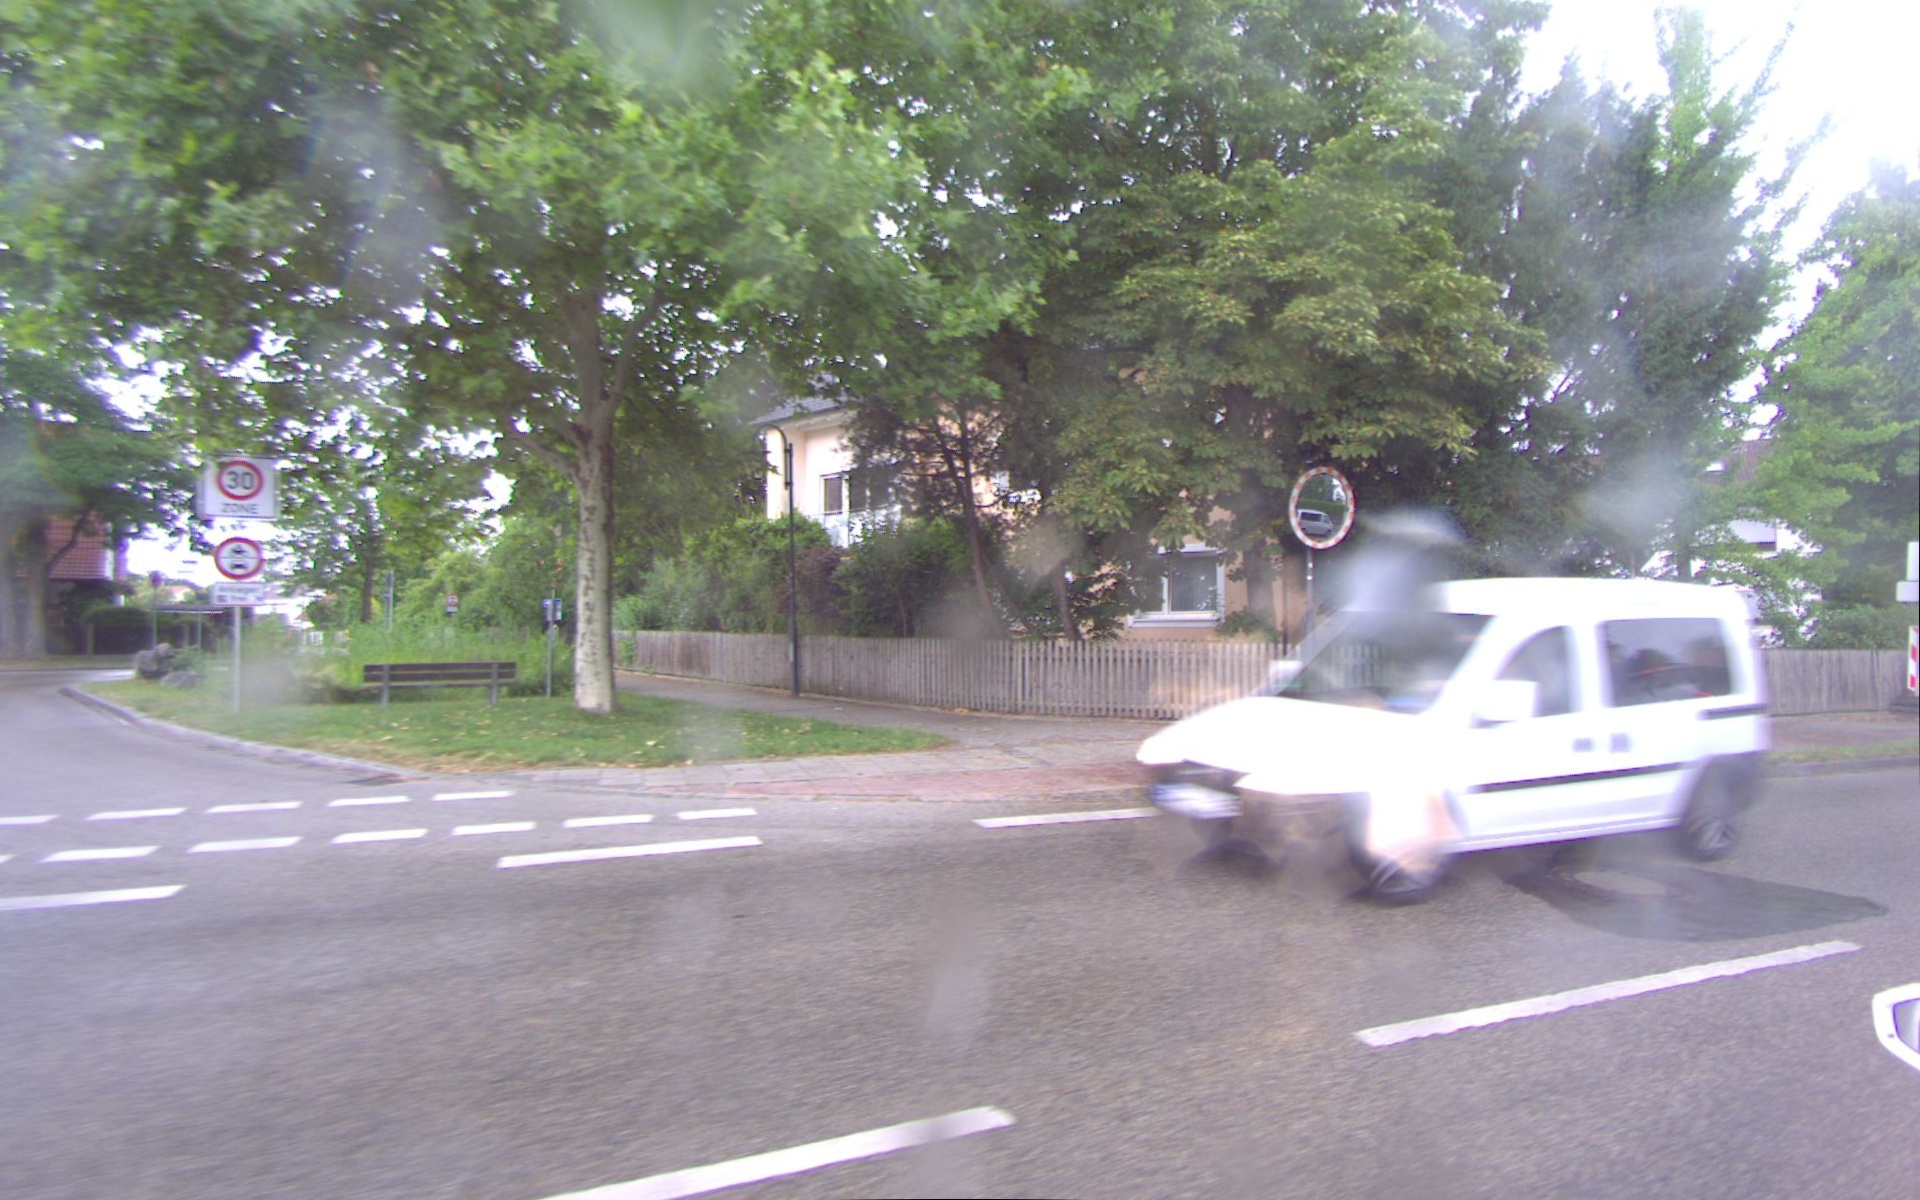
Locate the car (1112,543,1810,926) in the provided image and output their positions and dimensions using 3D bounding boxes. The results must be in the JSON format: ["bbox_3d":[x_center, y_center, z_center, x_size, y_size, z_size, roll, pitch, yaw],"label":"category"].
[{"bbox_3d":[3.215,0.668,6.337,4.272,1.788,1.635,1,0,-25],"label":"car"}]

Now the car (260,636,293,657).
[{"bbox_3d":[-54.394,3.674,79.924,1.981,1.461,3.958,2,-1,-37],"label":"car"}]
